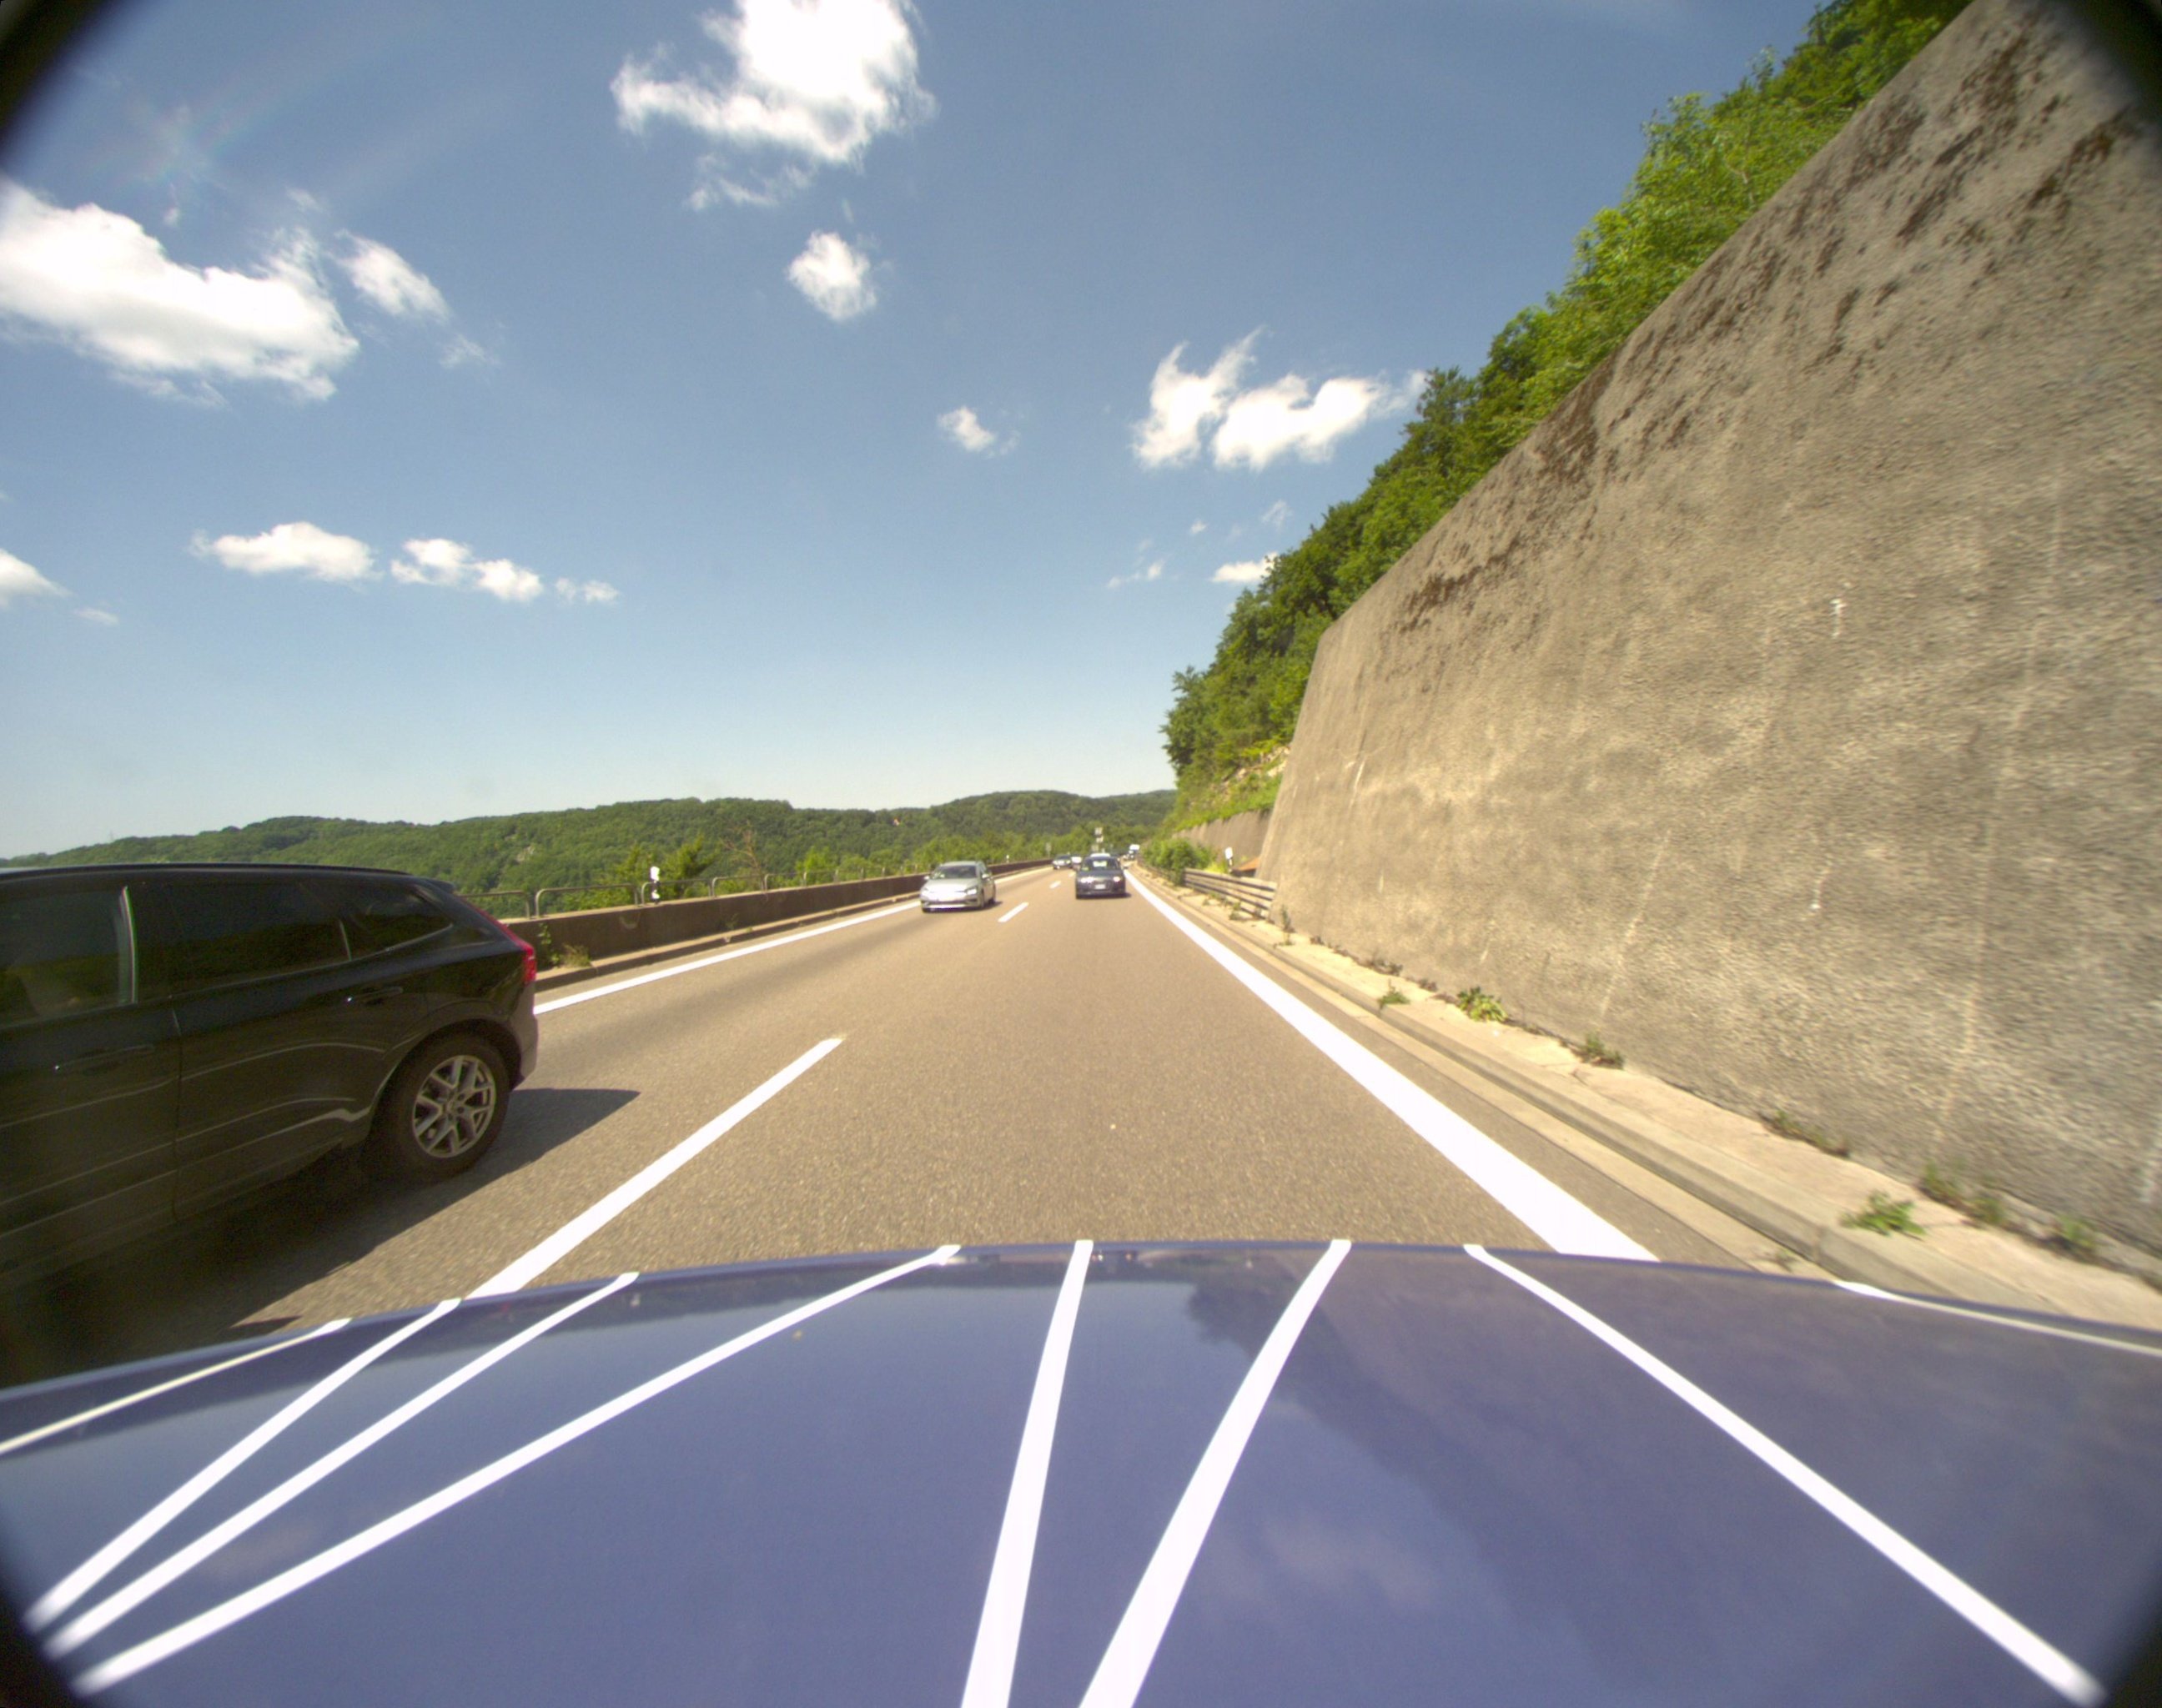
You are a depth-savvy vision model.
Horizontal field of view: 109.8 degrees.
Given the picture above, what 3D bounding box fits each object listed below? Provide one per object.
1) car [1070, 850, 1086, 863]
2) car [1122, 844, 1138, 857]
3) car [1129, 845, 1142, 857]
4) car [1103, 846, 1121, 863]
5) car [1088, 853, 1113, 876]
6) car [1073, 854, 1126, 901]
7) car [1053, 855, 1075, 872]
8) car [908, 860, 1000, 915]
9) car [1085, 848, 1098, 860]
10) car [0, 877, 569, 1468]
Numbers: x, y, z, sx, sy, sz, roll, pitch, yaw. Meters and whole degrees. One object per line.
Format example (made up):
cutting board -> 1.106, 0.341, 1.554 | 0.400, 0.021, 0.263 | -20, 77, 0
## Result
car -> -0.327, 0.319, 97.568 | 1.776, 1.565, 4.000 | -2, 0, 2
car -> 8.212, -0.582, 126.961 | 1.997, 2.002, 4.003 | -2, 1, 13
car -> 9.924, -0.595, 138.143 | 1.997, 2.002, 4.002 | -2, 0, 8
car -> 3.778, 0.024, 92.543 | 1.998, 2.002, 4.001 | -1, 0, 5
car -> 1.324, 0.711, 52.678 | 1.703, 1.432, 4.043 | -1, 1, 1
car -> 0.676, 0.758, 26.416 | 1.669, 1.415, 4.043 | -1, 1, 2
car -> -1.696, 0.909, 76.063 | 1.875, 1.565, 4.000 | -2, 0, 3
car -> -3.798, 0.962, 23.488 | 1.972, 1.370, 4.293 | -1, 1, 2
car -> 1.540, -0.005, 109.980 | 1.776, 1.565, 4.000 | -2, 0, 2
car -> -4.087, 1.009, 2.287 | 1.839, 1.624, 4.662 | -3, 0, 0
